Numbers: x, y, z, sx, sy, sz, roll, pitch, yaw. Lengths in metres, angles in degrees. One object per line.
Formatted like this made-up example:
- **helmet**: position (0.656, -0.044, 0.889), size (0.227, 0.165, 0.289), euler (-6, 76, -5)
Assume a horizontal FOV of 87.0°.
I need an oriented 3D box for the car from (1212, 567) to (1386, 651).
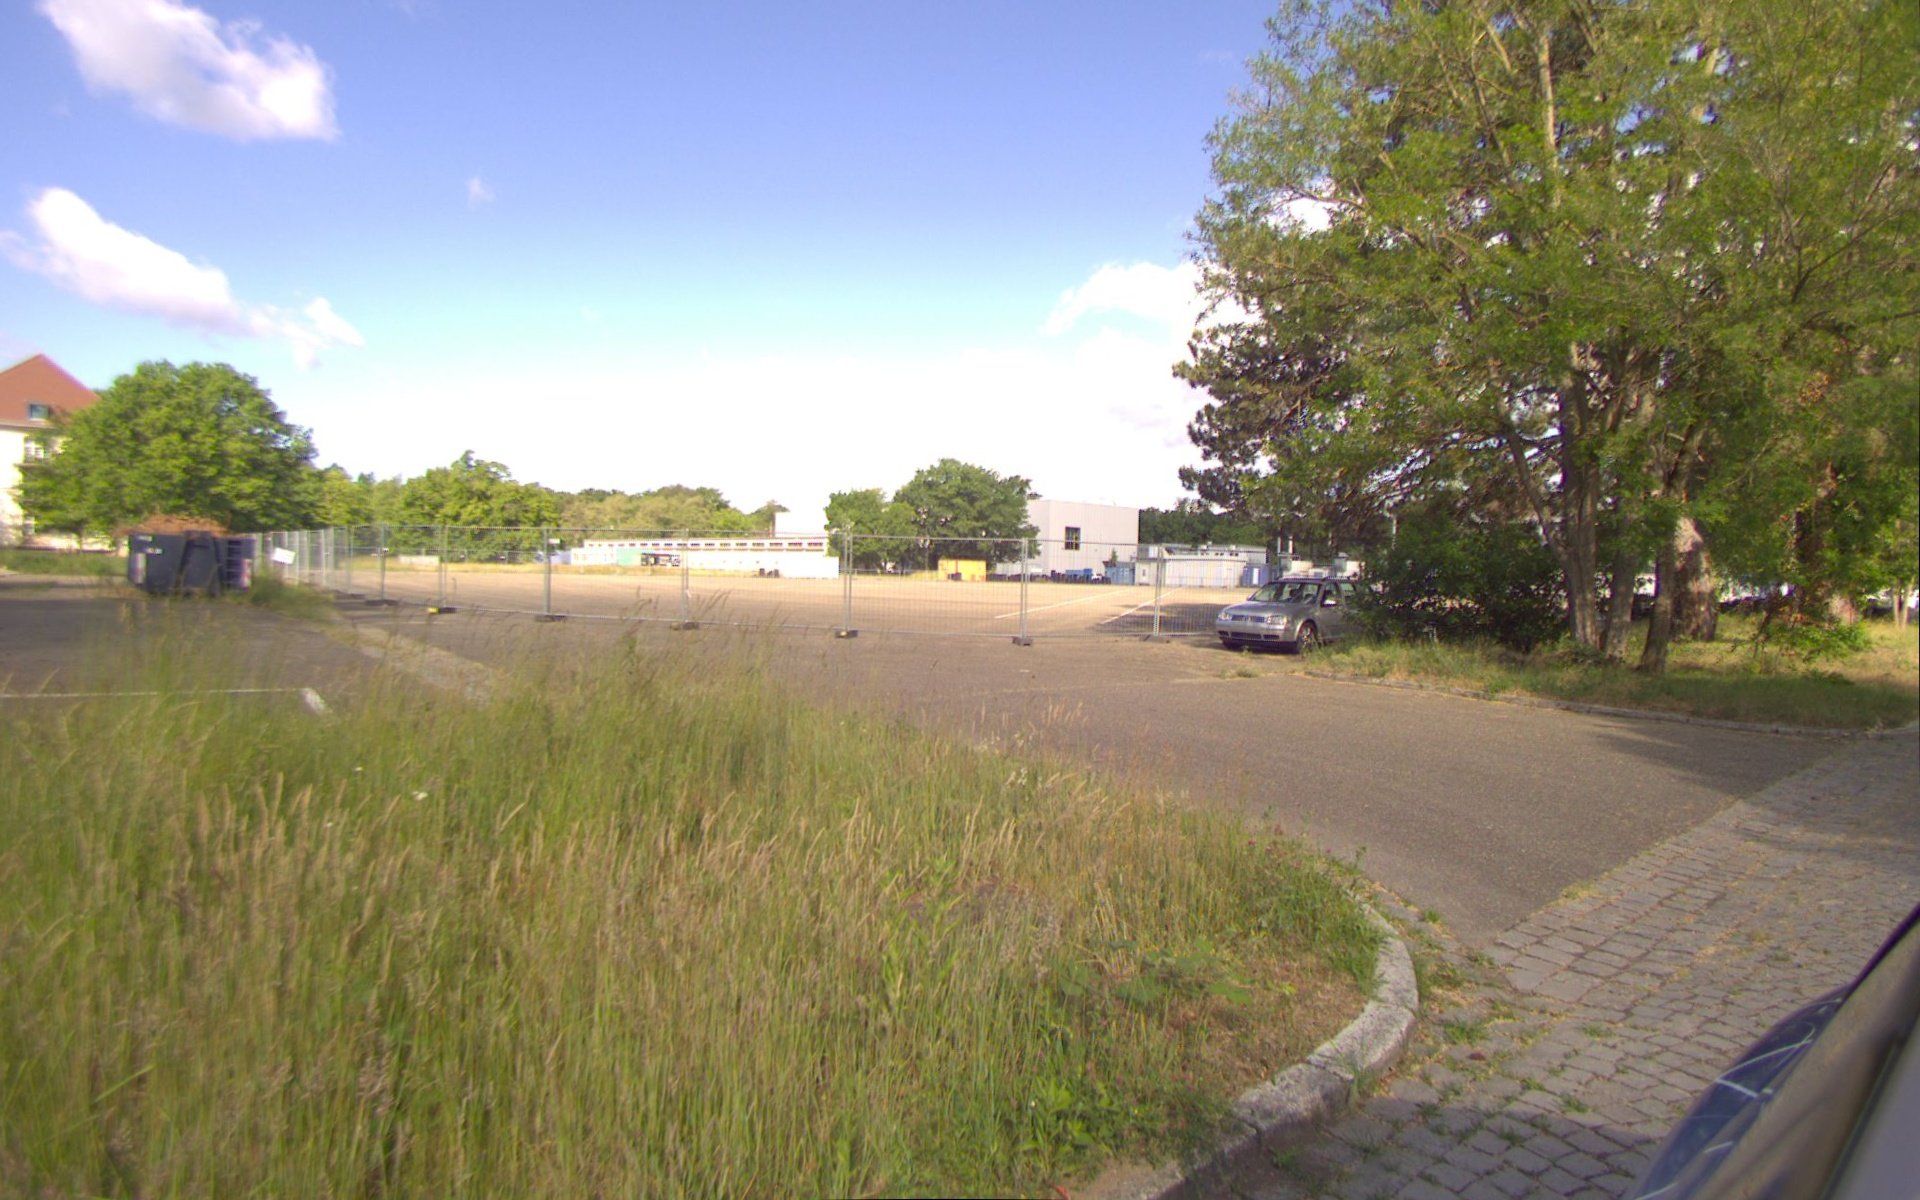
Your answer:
- **car**: position (6.729, 0.138, 19.915), size (3.920, 1.461, 1.576), euler (0, 2, -44)
